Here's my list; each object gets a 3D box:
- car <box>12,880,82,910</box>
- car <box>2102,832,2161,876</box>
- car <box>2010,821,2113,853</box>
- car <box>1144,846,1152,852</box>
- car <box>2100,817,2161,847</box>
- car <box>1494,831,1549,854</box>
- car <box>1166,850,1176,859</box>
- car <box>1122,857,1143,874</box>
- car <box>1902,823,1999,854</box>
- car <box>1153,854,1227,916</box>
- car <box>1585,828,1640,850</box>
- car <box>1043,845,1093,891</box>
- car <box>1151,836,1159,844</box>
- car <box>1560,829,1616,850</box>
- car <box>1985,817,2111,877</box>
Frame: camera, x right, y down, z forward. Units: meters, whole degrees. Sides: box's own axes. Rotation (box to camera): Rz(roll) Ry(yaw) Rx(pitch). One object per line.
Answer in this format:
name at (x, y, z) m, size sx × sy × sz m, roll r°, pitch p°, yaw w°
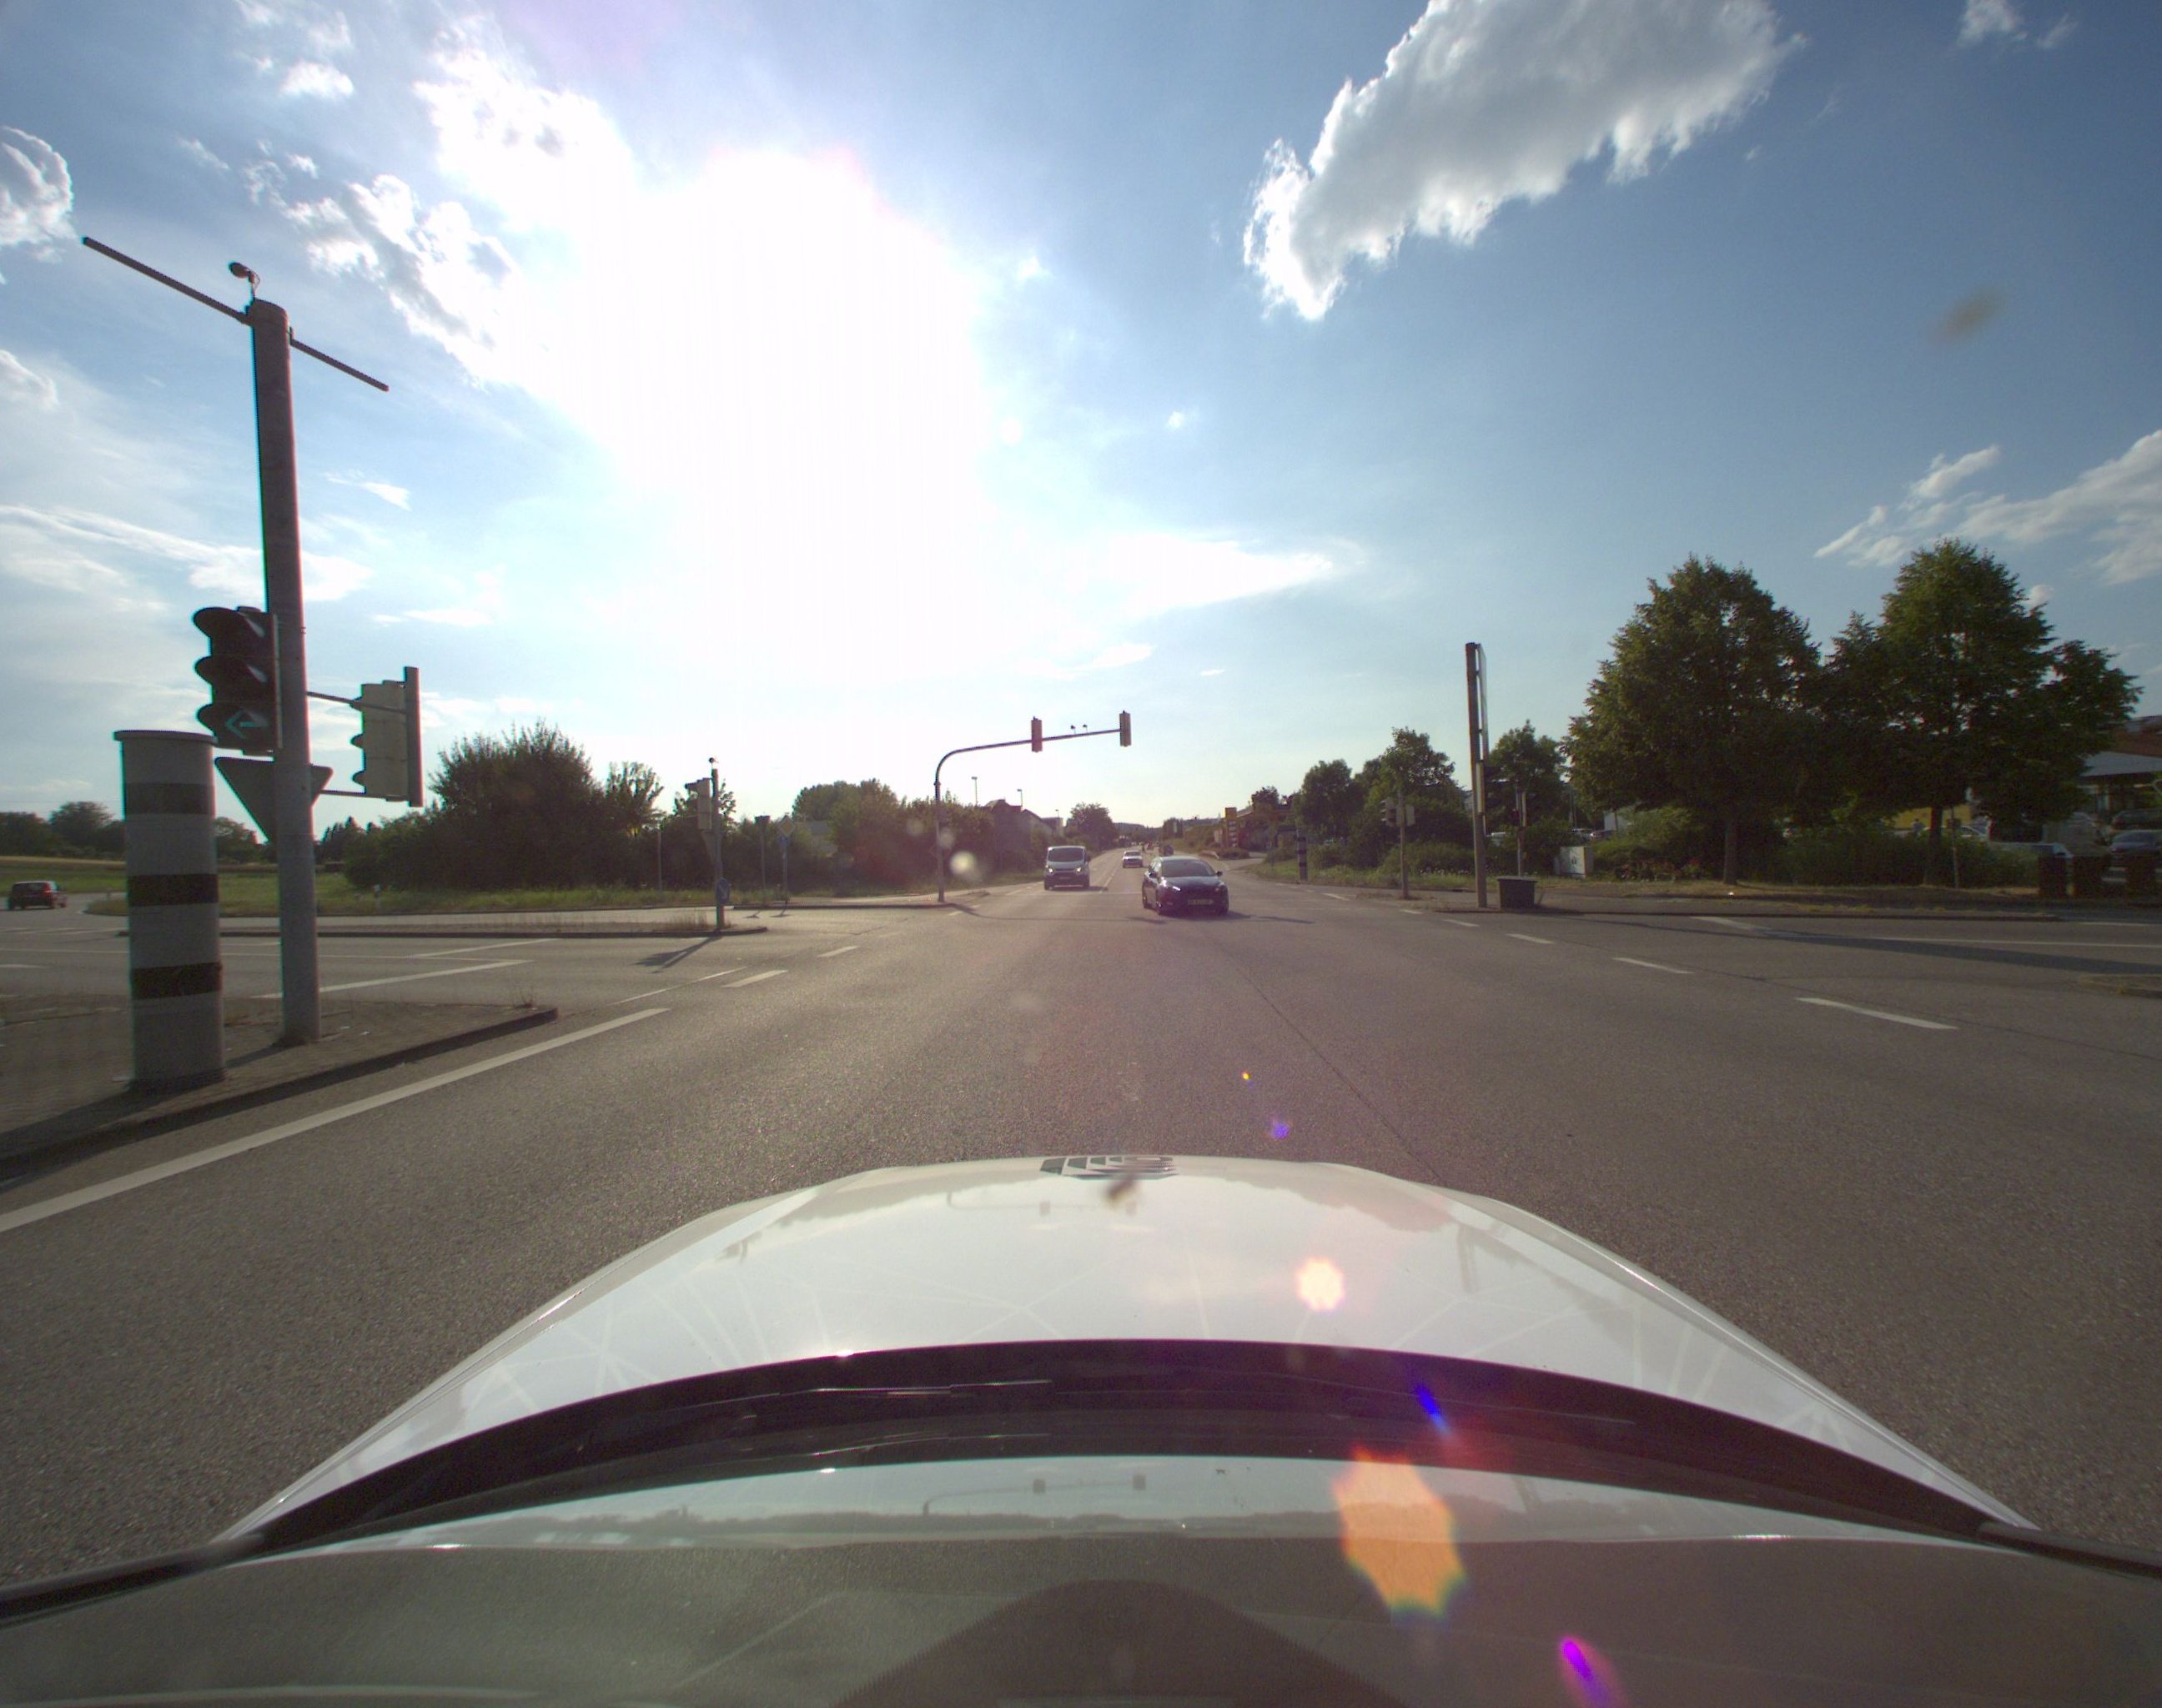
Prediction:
car at (-57.052, 2.216, 45.003) m, size 1.737 × 1.500 × 3.810 m, roll 0°, pitch -1°, yaw -42°
car at (49.364, 0.022, 37.634) m, size 3.998 × 1.954 × 1.443 m, roll 0°, pitch -1°, yaw -19°
car at (51.468, -0.855, 42.795) m, size 1.571 × 1.550 × 3.222 m, roll 0°, pitch -1°, yaw -31°
car at (16.313, -1.269, 197.842) m, size 1.735 × 1.352 × 3.202 m, roll 0°, pitch -1°, yaw -1°
car at (59.932, -1.217, 45.419) m, size 1.720 × 1.629 × 3.542 m, roll 0°, pitch -1°, yaw -22°
car at (39.925, -1.033, 73.794) m, size 4.662 × 2.014 × 1.952 m, roll 0°, pitch -1°, yaw -24°
car at (14.708, 0.132, 132.680) m, size 1.542 × 1.449 × 3.054 m, roll 0°, pitch -1°, yaw 6°
car at (4.562, 1.012, 72.551) m, size 1.849 × 1.514 × 4.957 m, roll 0°, pitch -1°, yaw 3°
car at (45.774, -0.784, 42.935) m, size 1.577 × 1.509 × 3.113 m, roll 0°, pitch -1°, yaw -13°
car at (2.891, 0.791, 22.010) m, size 1.779 × 1.497 × 4.309 m, roll 0°, pitch -1°, yaw 6°
car at (50.888, -1.392, 77.982) m, size 4.670 × 2.014 × 1.988 m, roll 0°, pitch -1°, yaw -18°
car at (-0.539, 0.585, 38.098) m, size 1.892 × 1.947 × 4.824 m, roll 0°, pitch 1°, yaw 4°
car at (22.373, -4.229, 246.574) m, size 1.987 × 2.014 × 3.998 m, roll 0°, pitch -1°, yaw -1°
car at (49.890, -1.407, 80.143) m, size 4.929 × 2.014 × 1.988 m, roll 0°, pitch -1°, yaw -18°
car at (42.189, -0.274, 35.527) m, size 5.142 × 2.506 × 1.986 m, roll 0°, pitch -1°, yaw -22°
